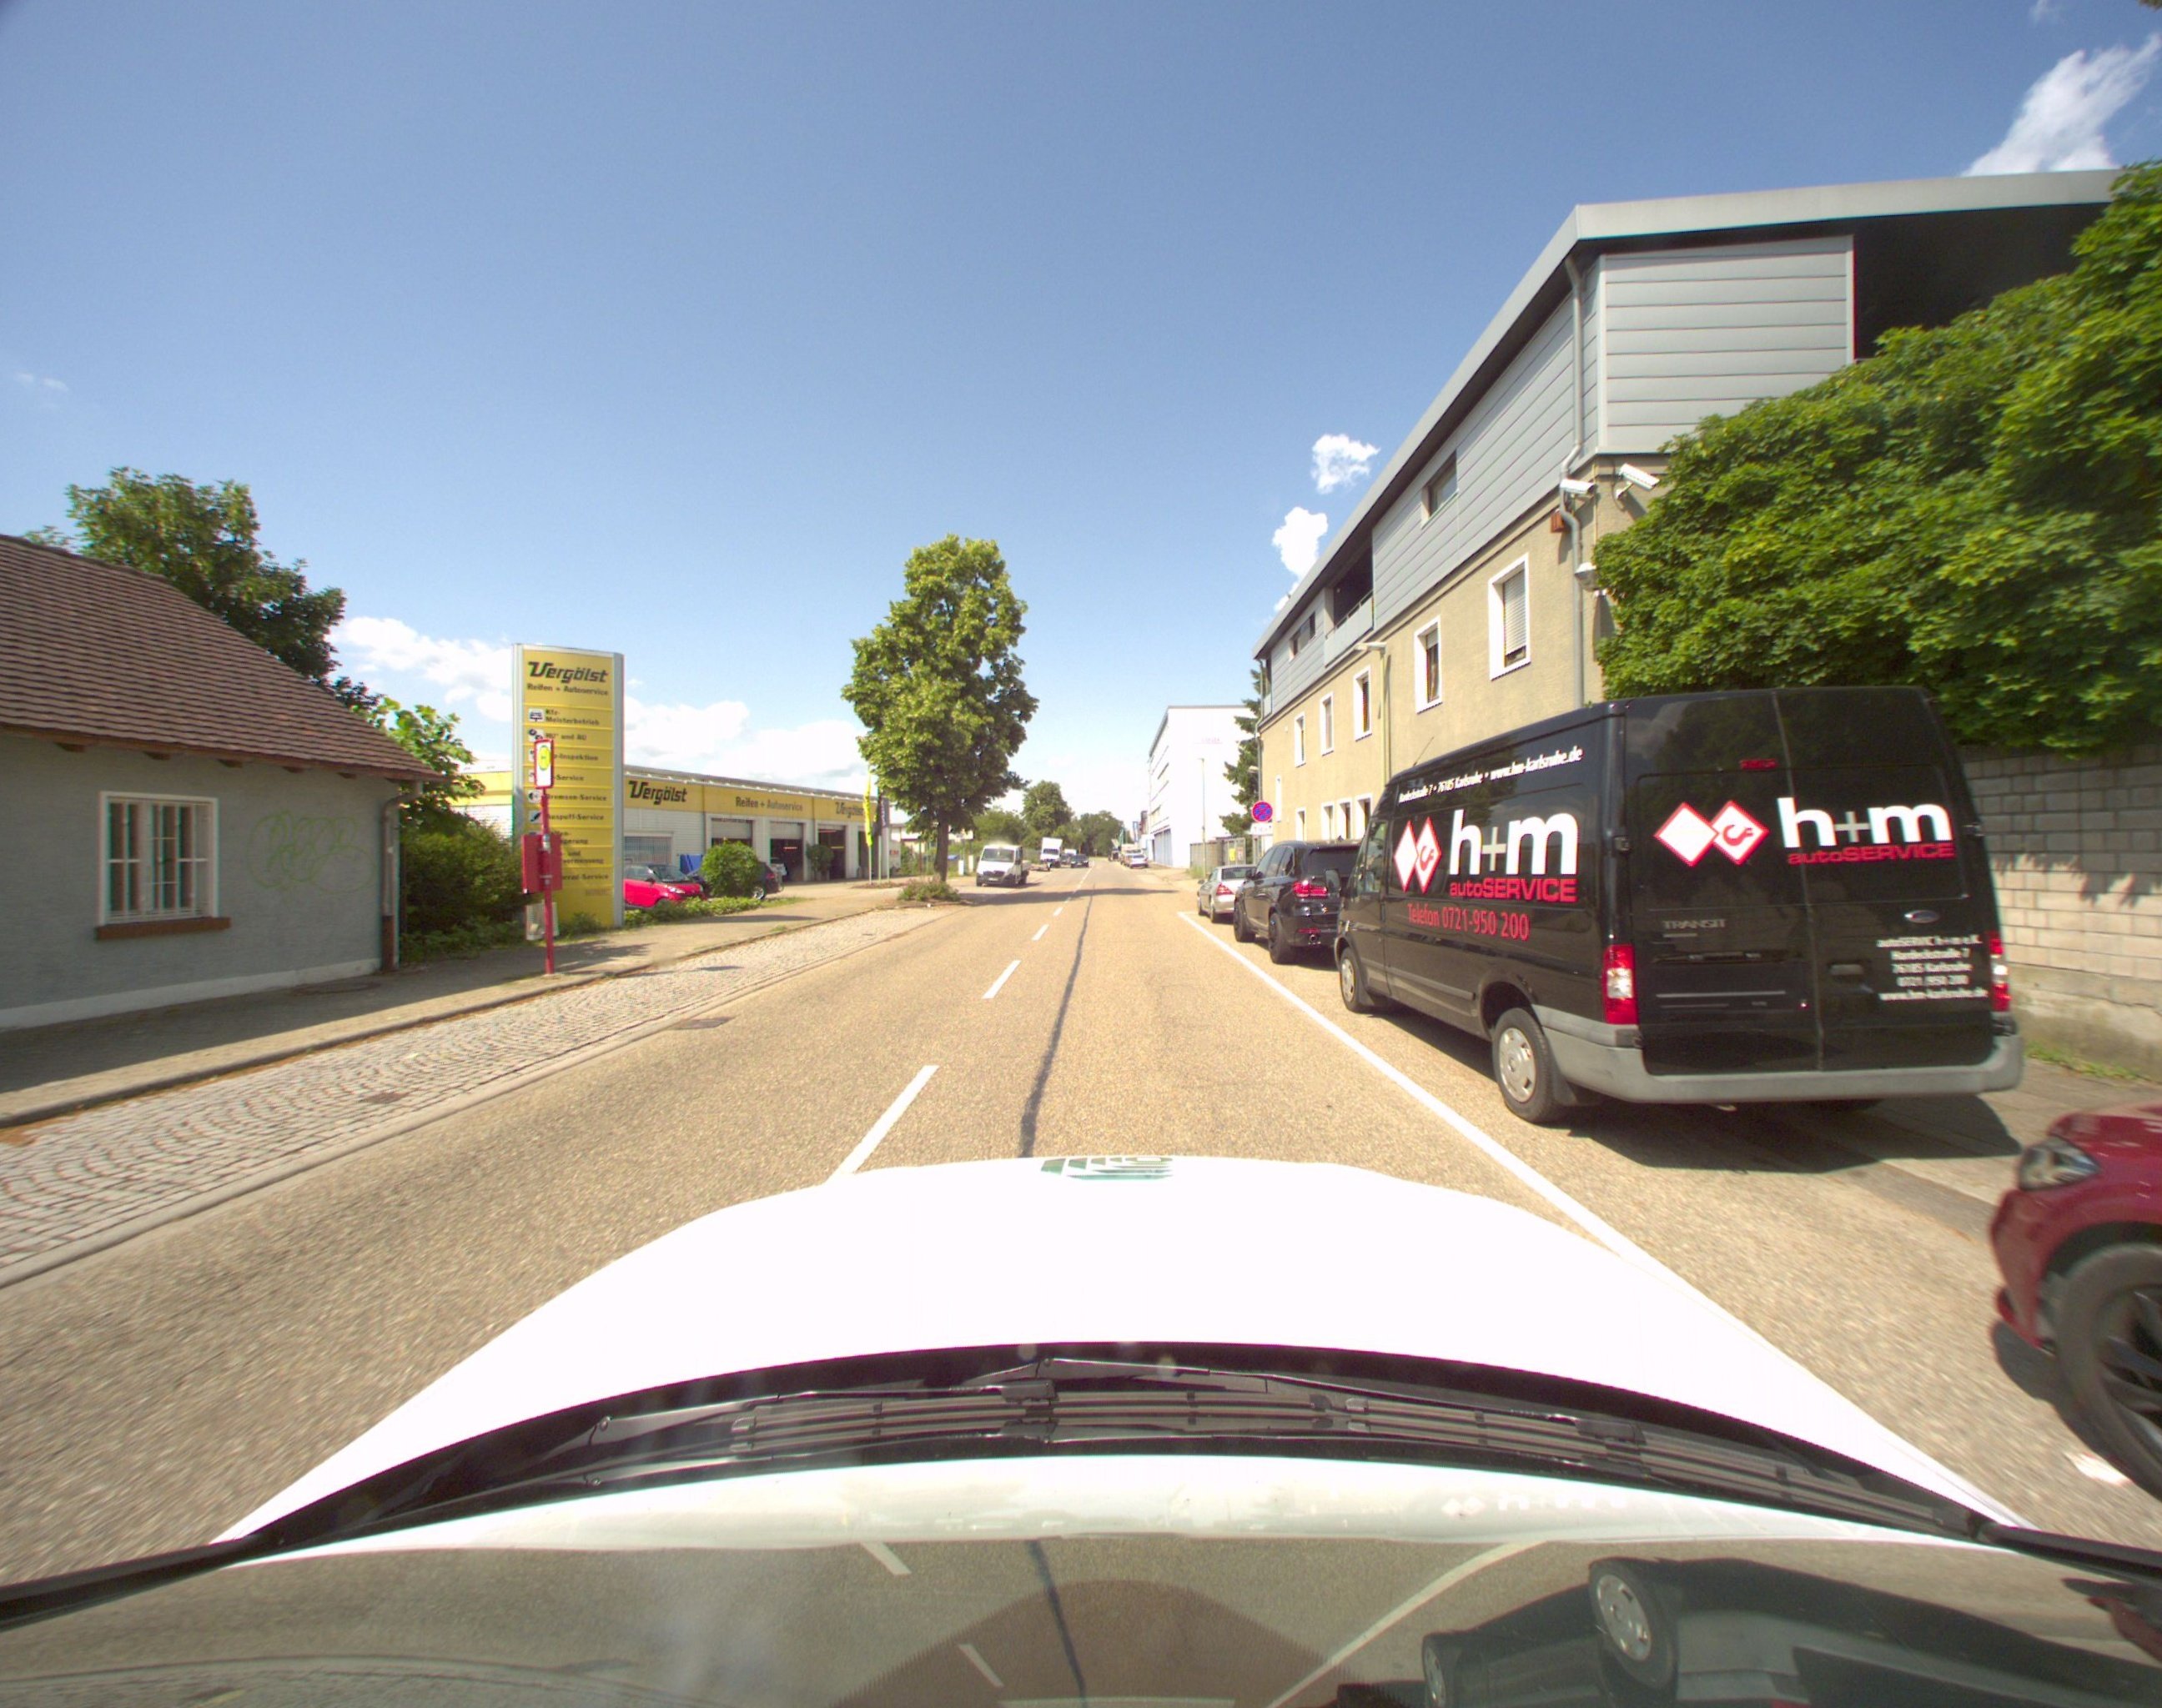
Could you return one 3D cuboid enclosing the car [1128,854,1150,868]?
[{"bbox_3d":[5.517,0.663,78.262,1.921,1.310,4.001,-1,0,1],"label":"car"}]

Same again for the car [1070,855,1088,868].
[{"bbox_3d":[-0.199,0.782,86.540,1.648,1.324,4.418,-1,0,2],"label":"car"}]

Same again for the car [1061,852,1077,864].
[{"bbox_3d":[-1.642,0.546,113.013,1.986,1.684,4.001,-1,0,1],"label":"car"}]

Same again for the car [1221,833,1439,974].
[{"bbox_3d":[3.605,0.630,12.854,1.954,1.780,4.954,0,0,0],"label":"car"}]

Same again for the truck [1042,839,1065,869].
[{"bbox_3d":[-3.043,-0.011,90.371,2.022,3.154,6.502,-1,0,2],"label":"truck"}]

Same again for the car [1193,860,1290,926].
[{"bbox_3d":[3.723,0.854,19.506,1.623,1.353,3.925,-1,0,1],"label":"car"}]

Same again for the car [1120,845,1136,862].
[{"bbox_3d":[5.897,-0.031,102.564,1.701,2.090,4.001,-1,0,1],"label":"car"}]

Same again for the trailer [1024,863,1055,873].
[{"bbox_3d":[-3.815,1.265,75.547,2.408,0.813,5.540,1,0,2],"label":"trailer"}]

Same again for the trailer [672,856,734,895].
[{"bbox_3d":[-16.830,0.934,36.350,1.359,1.649,2.215,-1,0,16],"label":"trailer"}]

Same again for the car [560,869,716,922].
[{"bbox_3d":[-13.016,1.202,24.006,3.809,1.422,1.737,-1,0,13],"label":"car"}]

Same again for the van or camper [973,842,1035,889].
[{"bbox_3d":[-4.211,0.573,46.122,2.163,2.413,7.707,-1,0,5],"label":"van or camper"}]

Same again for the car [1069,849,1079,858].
[{"bbox_3d":[-1.396,-0.043,168.916,1.986,1.816,4.002,-1,0,2],"label":"car"}]

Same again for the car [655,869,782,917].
[{"bbox_3d":[-12.555,1.332,28.483,3.799,1.377,1.868,-3,0,-18],"label":"car"}]

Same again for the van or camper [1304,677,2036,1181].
[{"bbox_3d":[3.439,0.338,6.448,1.986,2.291,5.449,0,0,2],"label":"van or camper"}]

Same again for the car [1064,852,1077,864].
[{"bbox_3d":[-1.522,0.510,117.498,1.707,1.650,4.001,-1,0,1],"label":"car"}]

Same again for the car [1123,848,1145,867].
[{"bbox_3d":[5.930,0.388,92.134,2.208,2.013,5.487,-1,0,2],"label":"car"}]

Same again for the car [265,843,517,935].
[{"bbox_3d":[-13.472,0.668,15.997,3.741,1.672,1.797,-1,0,11],"label":"car"}]

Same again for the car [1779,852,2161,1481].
[{"bbox_3d":[3.286,0.716,0.533,1.675,1.442,4.768,0,0,2],"label":"car"}]

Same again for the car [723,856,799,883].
[{"bbox_3d":[-18.574,0.907,47.265,3.949,1.464,2.002,-1,0,30],"label":"car"}]
